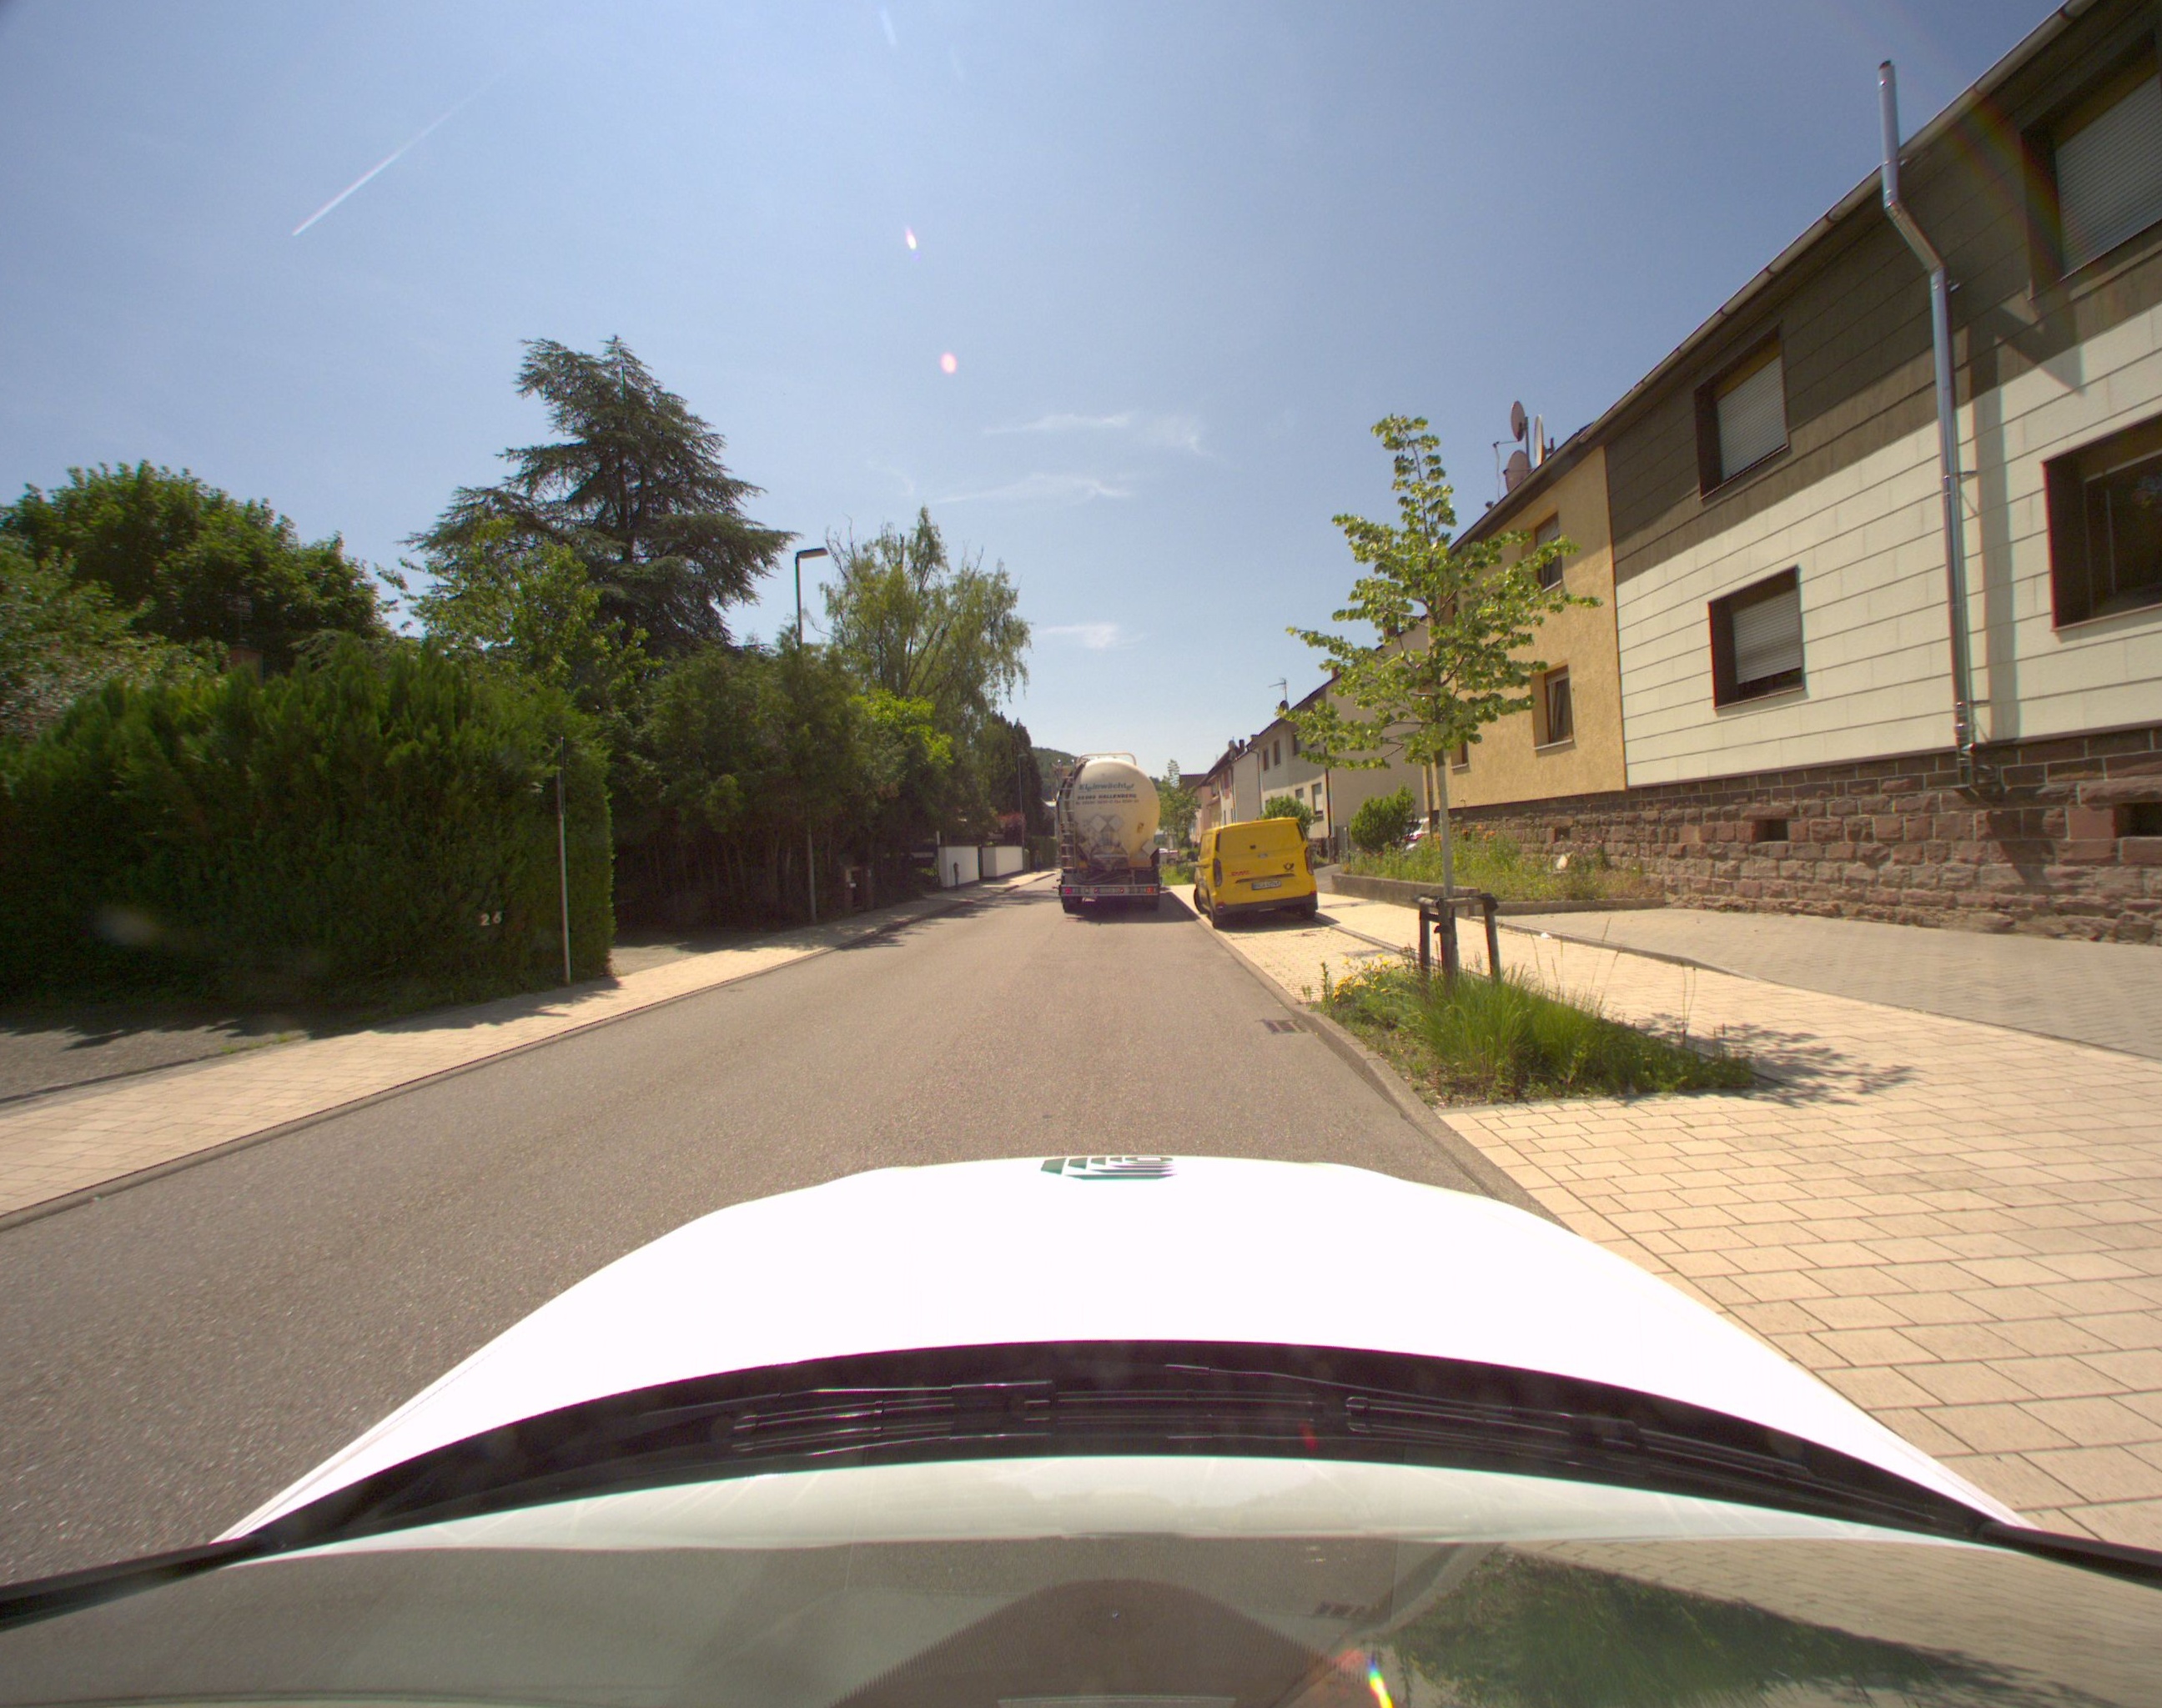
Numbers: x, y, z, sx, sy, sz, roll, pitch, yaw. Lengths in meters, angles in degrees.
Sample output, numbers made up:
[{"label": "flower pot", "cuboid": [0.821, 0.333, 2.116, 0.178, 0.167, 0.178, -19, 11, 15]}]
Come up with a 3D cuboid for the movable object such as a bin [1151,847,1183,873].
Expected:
[{"label": "movable object such as a bin", "cuboid": [4.977, 0.358, 47.188, 1.565, 1.416, 3.043, -3, -1, 2]}]

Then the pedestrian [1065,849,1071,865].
[{"label": "pedestrian", "cuboid": [-1.488, 0.318, 94.600, 0.710, 1.823, 0.898, -1, -1, -1]}]

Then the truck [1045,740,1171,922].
[{"label": "truck", "cuboid": [0.844, -0.562, 23.991, 2.739, 4.056, 10.895, -2, 0, 2]}]

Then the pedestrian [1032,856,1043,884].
[{"label": "pedestrian", "cuboid": [-3.258, 1.190, 60.707, 0.718, 2.014, 0.804, -1, -1, 2]}]

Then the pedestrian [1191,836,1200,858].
[{"label": "pedestrian", "cuboid": [10.746, -0.621, 76.364, 0.743, 2.014, 1.034, -1, -1, 4]}]

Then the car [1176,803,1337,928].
[{"label": "car", "cuboid": [3.495, 0.236, 17.490, 2.182, 2.013, 5.624, -7, -1, 2]}]

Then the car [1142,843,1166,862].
[{"label": "car", "cuboid": [6.270, -0.135, 70.570, 1.749, 1.418, 4.635, -5, -1, 3]}]

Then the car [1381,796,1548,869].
[{"label": "car", "cuboid": [11.299, -0.618, 24.212, 3.974, 1.676, 1.874, -6, 0, 0]}]
